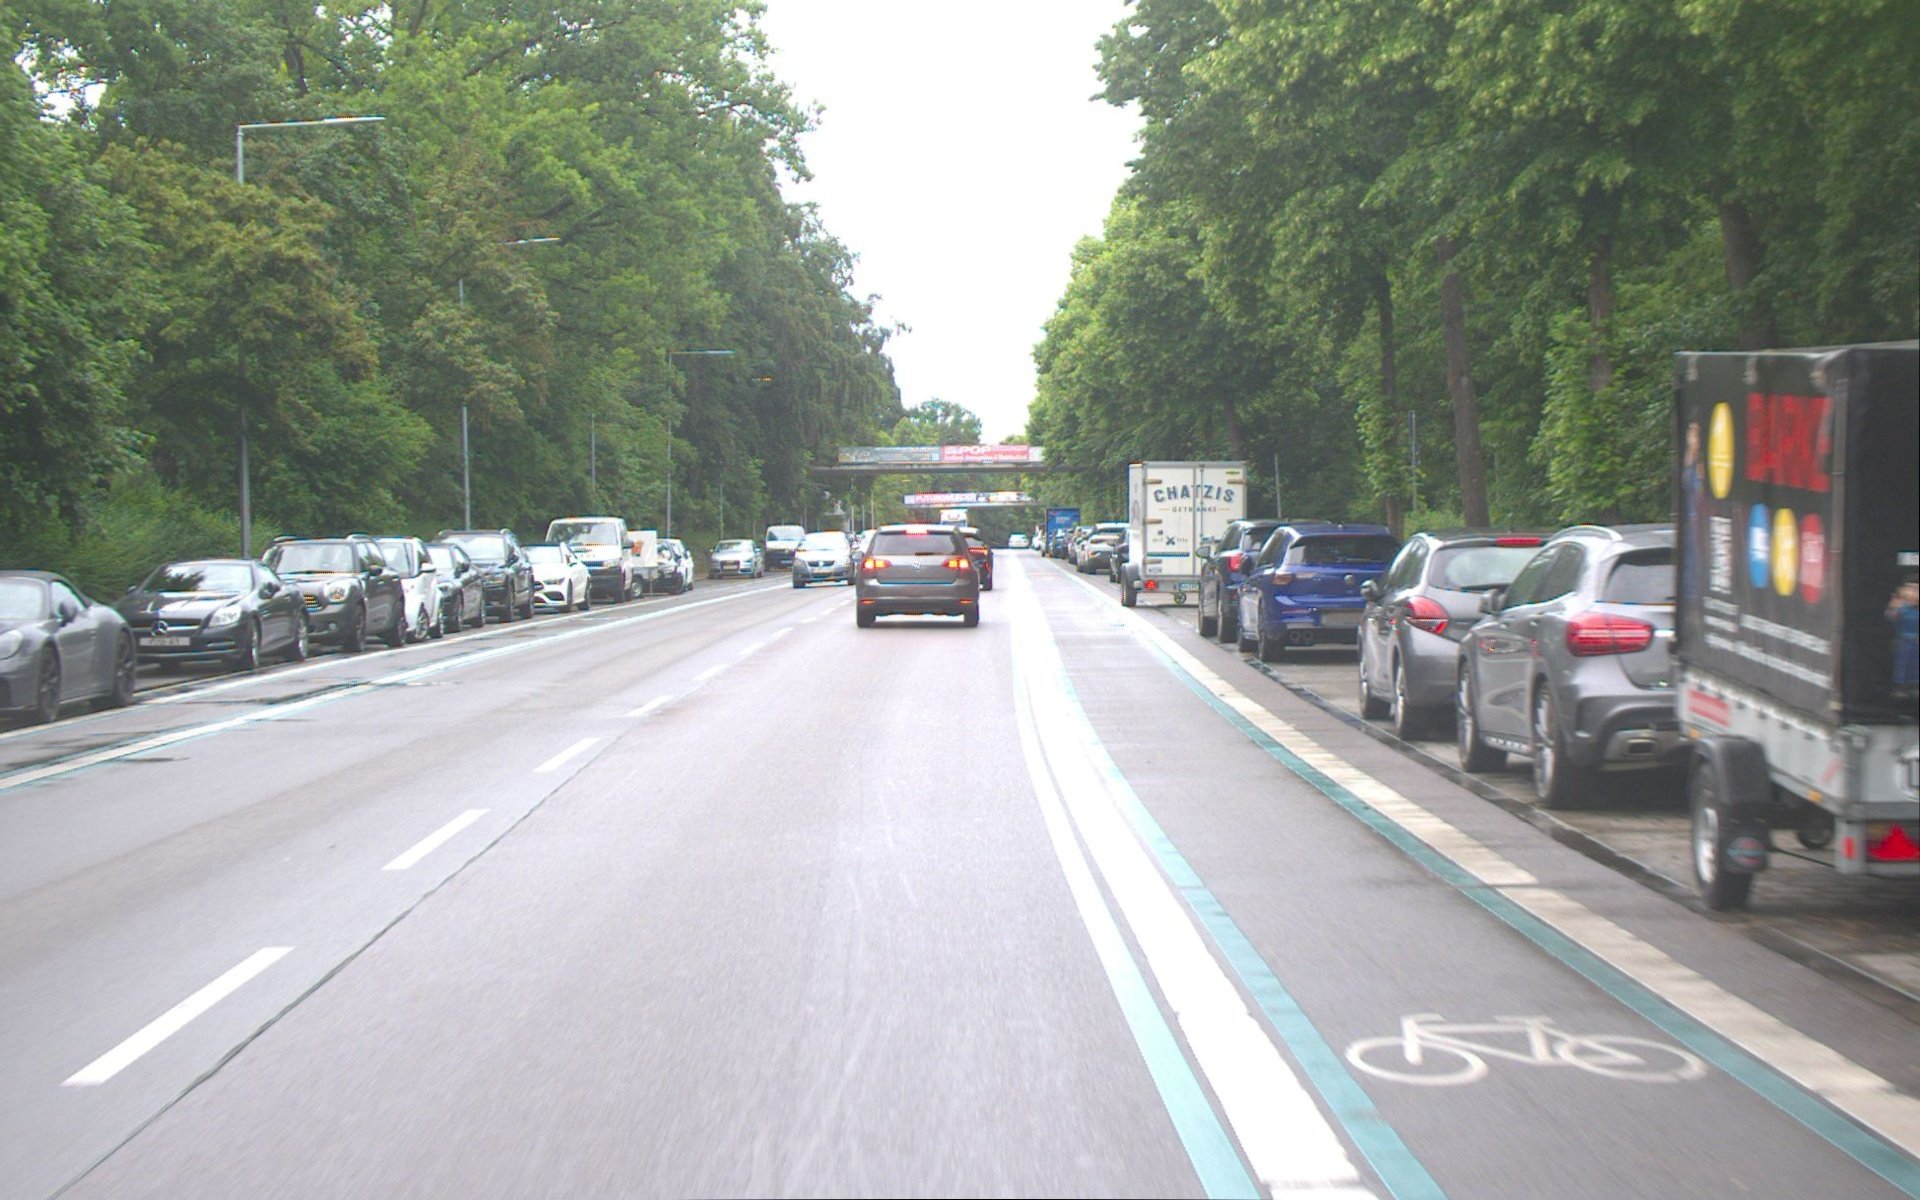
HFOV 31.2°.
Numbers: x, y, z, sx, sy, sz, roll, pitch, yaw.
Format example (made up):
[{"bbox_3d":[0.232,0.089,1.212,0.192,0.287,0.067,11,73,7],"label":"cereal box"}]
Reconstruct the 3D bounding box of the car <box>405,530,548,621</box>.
[{"bbox_3d":[-8.705,-0.472,62.245,1.879,1.556,4.468,-1,1,1],"label":"car"}]

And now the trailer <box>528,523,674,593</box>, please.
[{"bbox_3d":[-8.741,-1.033,84.009,1.628,1.623,3.666,0,2,32],"label":"trailer"}]

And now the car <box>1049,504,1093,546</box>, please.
[{"bbox_3d":[5.428,-3.663,168.783,1.993,2.007,4.000,-1,1,0],"label":"car"}]

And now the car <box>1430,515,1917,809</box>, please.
[{"bbox_3d":[3.892,0.262,19.507,1.795,1.445,4.429,-1,1,0],"label":"car"}]

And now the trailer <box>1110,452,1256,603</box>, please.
[{"bbox_3d":[3.893,-1.285,60.666,2.132,2.551,4.298,-1,1,-2],"label":"trailer"}]

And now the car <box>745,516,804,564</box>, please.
[{"bbox_3d":[-7.992,-2.594,148.504,2.159,2.007,5.031,-1,1,2],"label":"car"}]

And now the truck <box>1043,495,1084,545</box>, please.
[{"bbox_3d":[5.517,-4.271,183.998,2.113,2.590,4.301,-1,1,1],"label":"truck"}]

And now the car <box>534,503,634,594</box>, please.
[{"bbox_3d":[-8.598,-1.208,78.976,1.939,2.007,4.741,-1,1,-2],"label":"car"}]

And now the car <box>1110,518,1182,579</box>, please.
[{"bbox_3d":[4.818,-1.356,89.432,1.722,1.520,4.000,-1,1,1],"label":"car"}]

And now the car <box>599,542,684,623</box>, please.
[{"bbox_3d":[-8.277,-0.490,89.587,1.939,2.007,4.741,-1,1,-2],"label":"car"}]

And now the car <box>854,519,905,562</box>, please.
[{"bbox_3d":[-3.013,-2.244,129.034,1.835,1.512,4.000,-1,1,0],"label":"car"}]

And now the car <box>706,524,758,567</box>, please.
[{"bbox_3d":[-8.205,-1.980,123.965,1.672,1.508,3.630,0,2,0],"label":"car"}]

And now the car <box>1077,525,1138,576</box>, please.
[{"bbox_3d":[4.861,-1.654,113.762,1.897,1.601,4.000,-1,1,1],"label":"car"}]

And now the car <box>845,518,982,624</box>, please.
[{"bbox_3d":[-0.703,-0.396,49.692,1.871,1.436,4.296,1,0,-2],"label":"car"}]

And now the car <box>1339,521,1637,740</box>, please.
[{"bbox_3d":[3.772,0.161,25.129,1.615,1.465,4.000,0,1,1],"label":"car"}]

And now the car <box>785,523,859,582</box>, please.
[{"bbox_3d":[-3.659,-1.283,91.674,1.698,1.479,4.035,-2,1,1],"label":"car"}]

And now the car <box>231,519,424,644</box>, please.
[{"bbox_3d":[-8.428,-0.282,46.110,1.696,1.578,4.139,-1,1,2],"label":"car"}]

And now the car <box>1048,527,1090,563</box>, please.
[{"bbox_3d":[5.565,-2.807,176.178,1.993,1.766,4.000,-2,1,1],"label":"car"}]

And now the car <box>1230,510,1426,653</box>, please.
[{"bbox_3d":[3.984,-0.249,37.809,1.682,1.476,4.319,0,2,0],"label":"car"}]

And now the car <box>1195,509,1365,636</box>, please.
[{"bbox_3d":[3.979,-0.382,43.262,1.713,1.507,3.976,-1,1,-1],"label":"car"}]

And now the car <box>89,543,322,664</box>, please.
[{"bbox_3d":[-8.834,0.005,40.574,1.696,1.296,4.192,-1,1,2],"label":"car"}]

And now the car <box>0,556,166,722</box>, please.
[{"bbox_3d":[-8.419,0.296,30.147,1.869,1.299,4.471,-1,1,0],"label":"car"}]

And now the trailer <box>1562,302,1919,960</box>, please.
[{"bbox_3d":[3.861,0.041,14.112,1.906,2.240,4.768,-1,1,0],"label":"trailer"}]

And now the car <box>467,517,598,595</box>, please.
[{"bbox_3d":[-8.484,-0.892,68.599,1.993,1.483,4.468,-1,1,1],"label":"car"}]

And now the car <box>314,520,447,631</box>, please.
[{"bbox_3d":[-8.520,-0.384,50.684,1.461,1.566,2.984,-1,1,-1],"label":"car"}]

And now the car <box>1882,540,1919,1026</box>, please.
[{"bbox_3d":[3.935,0.614,8.784,1.822,1.480,4.200,1,1,-3],"label":"car"}]

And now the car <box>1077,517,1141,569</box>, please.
[{"bbox_3d":[4.720,-1.821,109.144,1.897,1.601,4.000,-1,1,1],"label":"car"}]

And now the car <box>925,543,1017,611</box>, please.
[{"bbox_3d":[0.230,-0.559,79.113,1.880,1.461,4.001,1,1,-3],"label":"car"}]

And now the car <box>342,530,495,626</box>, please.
[{"bbox_3d":[-8.765,-0.390,55.991,1.808,1.483,4.469,-1,1,0],"label":"car"}]
